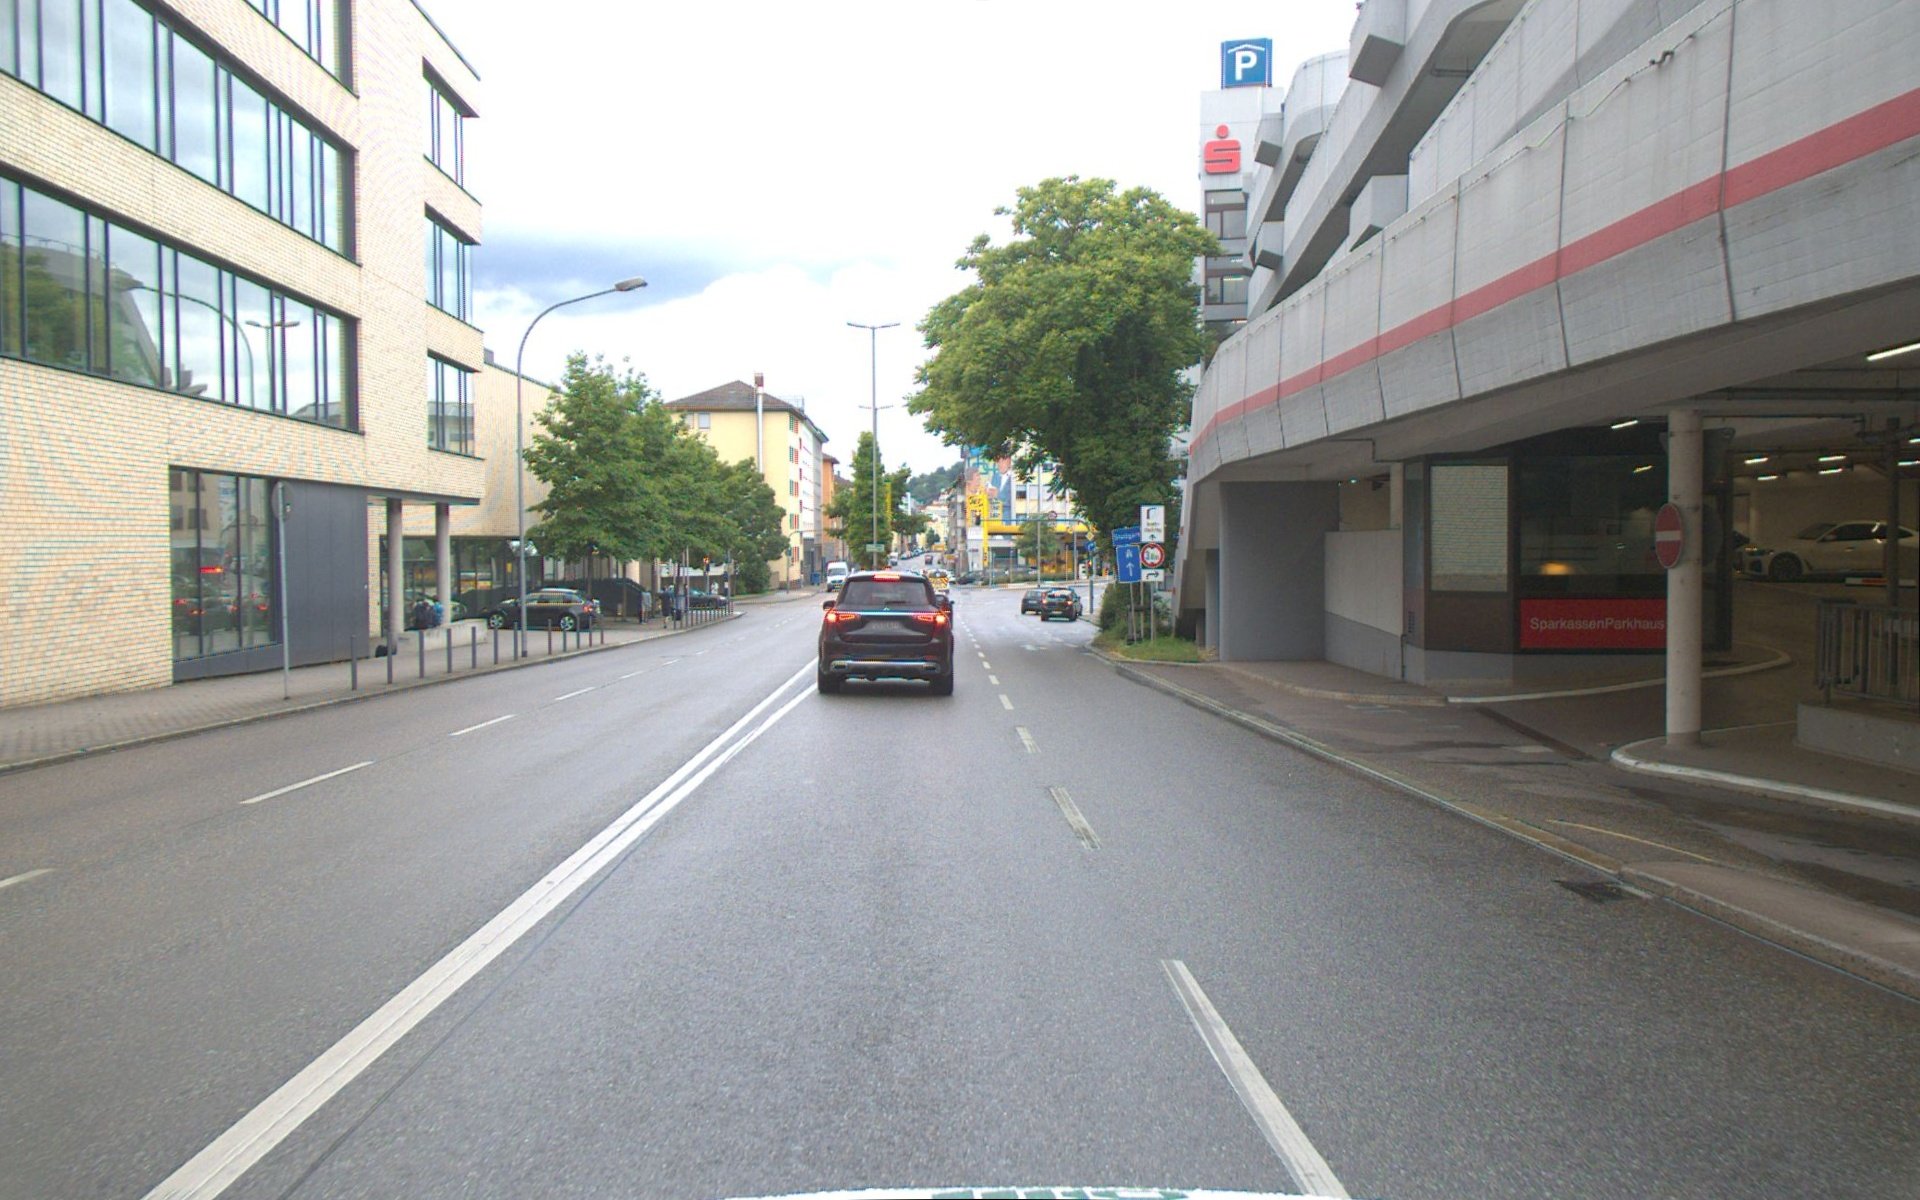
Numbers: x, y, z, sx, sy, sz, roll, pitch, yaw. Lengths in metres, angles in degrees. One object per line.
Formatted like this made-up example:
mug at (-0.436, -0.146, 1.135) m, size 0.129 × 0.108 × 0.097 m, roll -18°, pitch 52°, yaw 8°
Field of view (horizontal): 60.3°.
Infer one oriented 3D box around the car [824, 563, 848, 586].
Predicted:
car at (-11.392, -2.343, 152.262) m, size 1.954 × 1.908 × 5.139 m, roll 1°, pitch 0°, yaw -3°

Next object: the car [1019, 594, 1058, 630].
car at (4.630, 0.696, 98.028) m, size 1.954 × 2.049 × 3.998 m, roll 1°, pitch 0°, yaw -3°

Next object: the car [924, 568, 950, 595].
car at (-1.847, -1.489, 132.889) m, size 1.953 × 2.048 × 3.999 m, roll 1°, pitch 1°, yaw -2°

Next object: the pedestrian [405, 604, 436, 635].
pedestrian at (-14.542, 0.520, 44.581) m, size 0.585 × 0.800 × 0.760 m, roll 1°, pitch -1°, yaw -1°

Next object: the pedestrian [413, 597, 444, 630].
pedestrian at (-14.627, 0.377, 45.555) m, size 0.667 × 0.901 × 0.524 m, roll 1°, pitch -1°, yaw -1°

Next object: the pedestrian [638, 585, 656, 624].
pedestrian at (-14.155, 0.211, 74.835) m, size 0.662 × 1.727 × 0.479 m, roll 2°, pitch -3°, yaw -2°

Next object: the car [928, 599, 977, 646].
car at (-0.318, 0.865, 63.971) m, size 1.669 × 1.746 × 3.440 m, roll 1°, pitch 0°, yaw -4°

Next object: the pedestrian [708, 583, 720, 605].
pedestrian at (-17.295, -0.431, 116.377) m, size 0.697 × 1.487 × 0.598 m, roll 1°, pitch -1°, yaw -2°

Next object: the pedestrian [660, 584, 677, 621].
pedestrian at (-14.210, 0.128, 80.661) m, size 0.674 × 1.756 × 0.754 m, roll 1°, pitch -3°, yaw -1°

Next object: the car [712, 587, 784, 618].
car at (-14.146, 0.144, 110.281) m, size 4.715 × 2.049 × 1.996 m, roll 0°, pitch 1°, yaw -9°

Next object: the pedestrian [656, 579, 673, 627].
pedestrian at (-12.744, 0.121, 71.257) m, size 0.576 × 2.049 × 0.749 m, roll 1°, pitch -1°, yaw -3°

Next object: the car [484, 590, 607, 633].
car at (-15.945, 0.426, 63.790) m, size 4.383 × 1.615 × 1.997 m, roll -1°, pitch 0°, yaw -8°

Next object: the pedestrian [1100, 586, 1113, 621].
pedestrian at (8.255, 0.211, 93.197) m, size 0.648 × 1.951 × 0.729 m, roll 1°, pitch -1°, yaw 13°

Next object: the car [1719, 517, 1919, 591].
car at (20.952, -1.112, 40.480) m, size 3.902 × 1.668 × 2.001 m, roll 1°, pitch -1°, yaw 8°

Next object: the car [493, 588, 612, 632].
car at (-16.179, 0.373, 65.897) m, size 4.331 × 1.601 × 1.998 m, roll 1°, pitch 2°, yaw -6°

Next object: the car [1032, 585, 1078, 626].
car at (4.890, 0.239, 85.874) m, size 1.954 × 2.049 × 3.998 m, roll 1°, pitch 1°, yaw -3°

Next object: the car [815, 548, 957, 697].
car at (-1.114, 0.330, 25.390) m, size 1.953 × 2.049 × 3.998 m, roll 1°, pitch 0°, yaw -2°

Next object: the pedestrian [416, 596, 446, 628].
pedestrian at (-14.580, 0.330, 45.579) m, size 0.574 × 0.859 × 0.727 m, roll 0°, pitch -1°, yaw -1°
